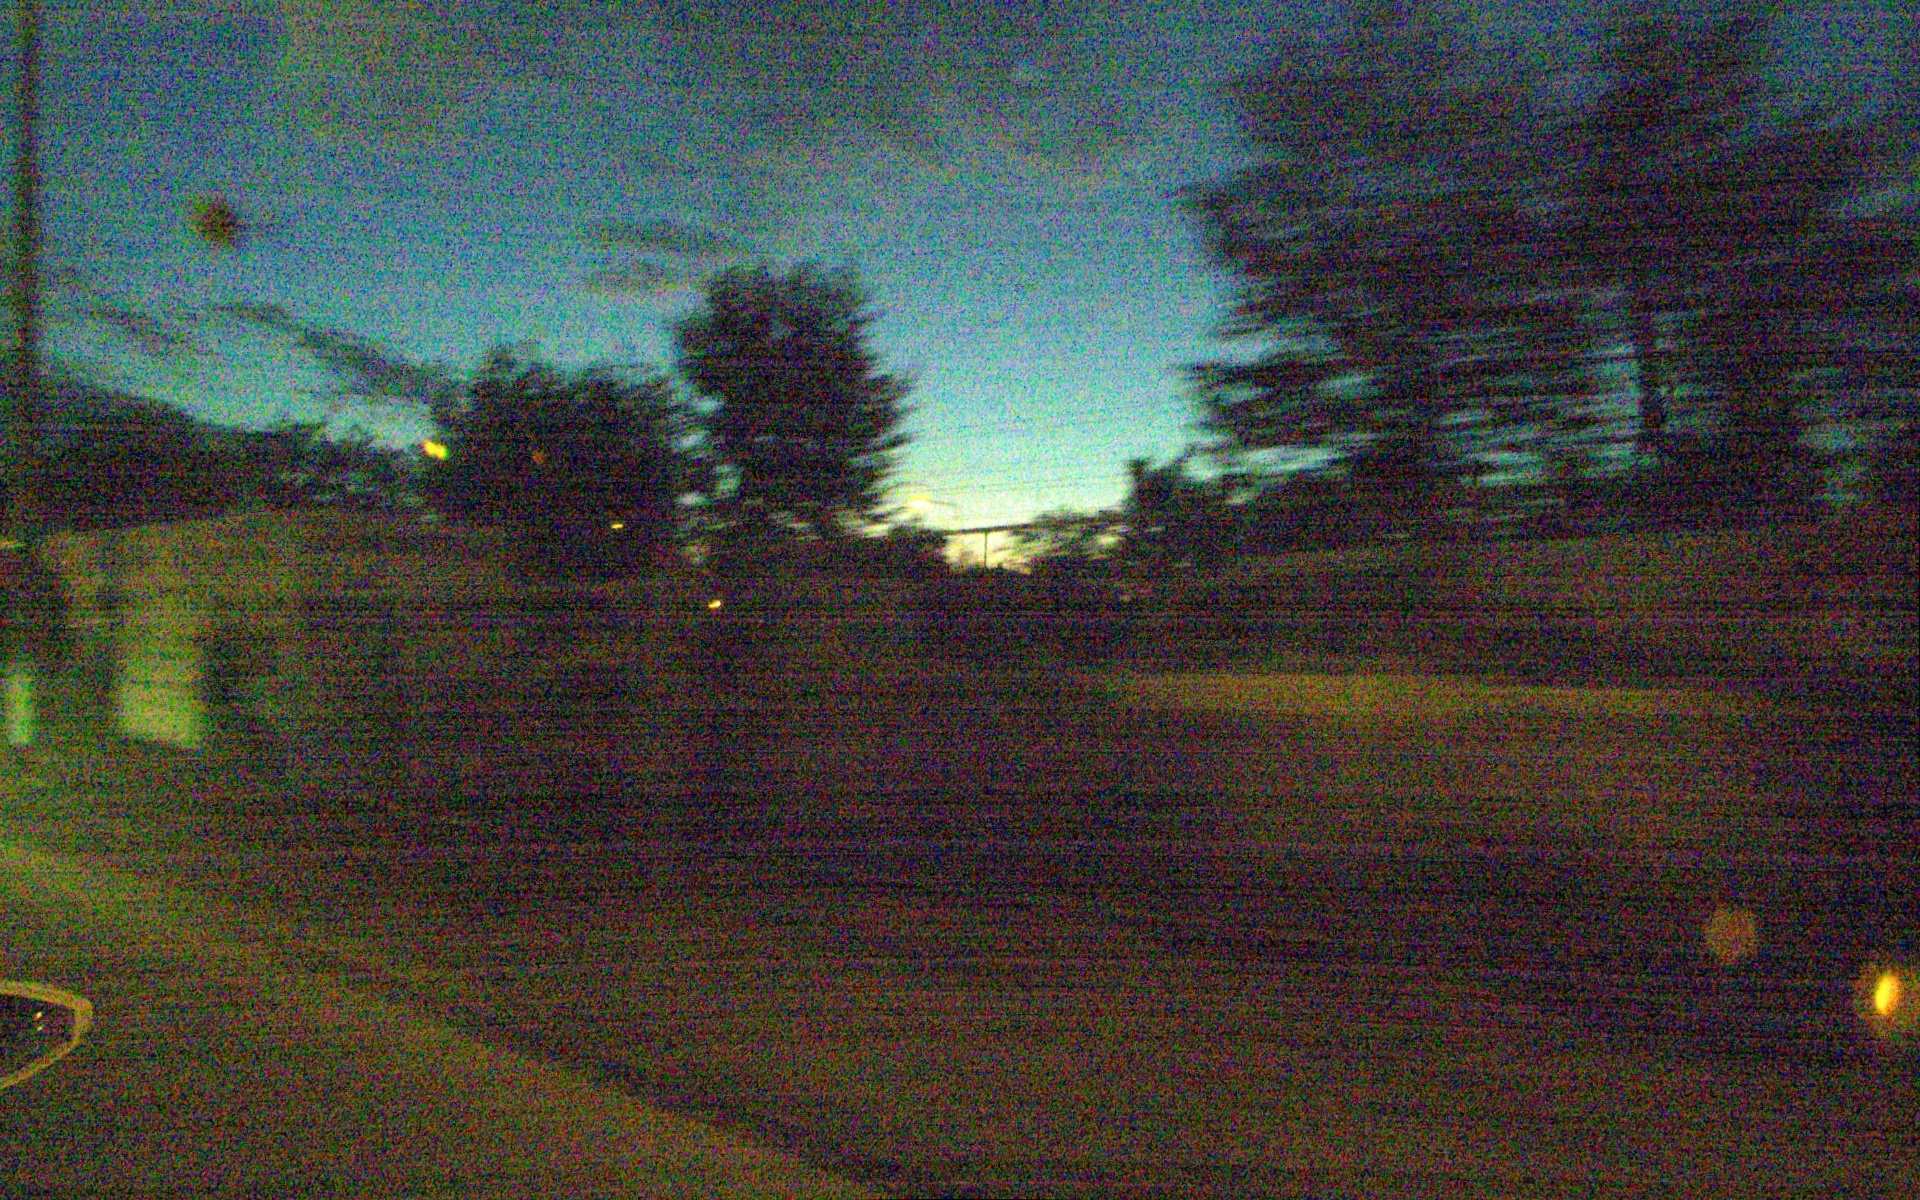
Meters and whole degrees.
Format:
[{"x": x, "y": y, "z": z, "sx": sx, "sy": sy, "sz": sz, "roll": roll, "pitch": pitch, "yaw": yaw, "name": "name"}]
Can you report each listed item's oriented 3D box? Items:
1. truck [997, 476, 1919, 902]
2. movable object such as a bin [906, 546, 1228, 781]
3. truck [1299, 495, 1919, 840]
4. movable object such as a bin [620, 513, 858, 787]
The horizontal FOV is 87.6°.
[{"x": 3.930, "y": 0.610, "z": 8.218, "sx": 7.217, "sy": 2.453, "sz": 2.179, "roll": -1, "pitch": -3, "yaw": 35, "name": "truck"}, {"x": 1.471, "y": 0.830, "z": 13.748, "sx": 3.809, "sy": 2.758, "sz": 2.225, "roll": -1, "pitch": -3, "yaw": 31, "name": "movable object such as a bin"}, {"x": 7.274, "y": 0.627, "z": 9.778, "sx": 7.221, "sy": 2.782, "sz": 2.178, "roll": -2, "pitch": -3, "yaw": 37, "name": "truck"}, {"x": -2.123, "y": 0.488, "z": 9.901, "sx": 1.589, "sy": 2.413, "sz": 1.682, "roll": 0, "pitch": -3, "yaw": 21, "name": "movable object such as a bin"}]
